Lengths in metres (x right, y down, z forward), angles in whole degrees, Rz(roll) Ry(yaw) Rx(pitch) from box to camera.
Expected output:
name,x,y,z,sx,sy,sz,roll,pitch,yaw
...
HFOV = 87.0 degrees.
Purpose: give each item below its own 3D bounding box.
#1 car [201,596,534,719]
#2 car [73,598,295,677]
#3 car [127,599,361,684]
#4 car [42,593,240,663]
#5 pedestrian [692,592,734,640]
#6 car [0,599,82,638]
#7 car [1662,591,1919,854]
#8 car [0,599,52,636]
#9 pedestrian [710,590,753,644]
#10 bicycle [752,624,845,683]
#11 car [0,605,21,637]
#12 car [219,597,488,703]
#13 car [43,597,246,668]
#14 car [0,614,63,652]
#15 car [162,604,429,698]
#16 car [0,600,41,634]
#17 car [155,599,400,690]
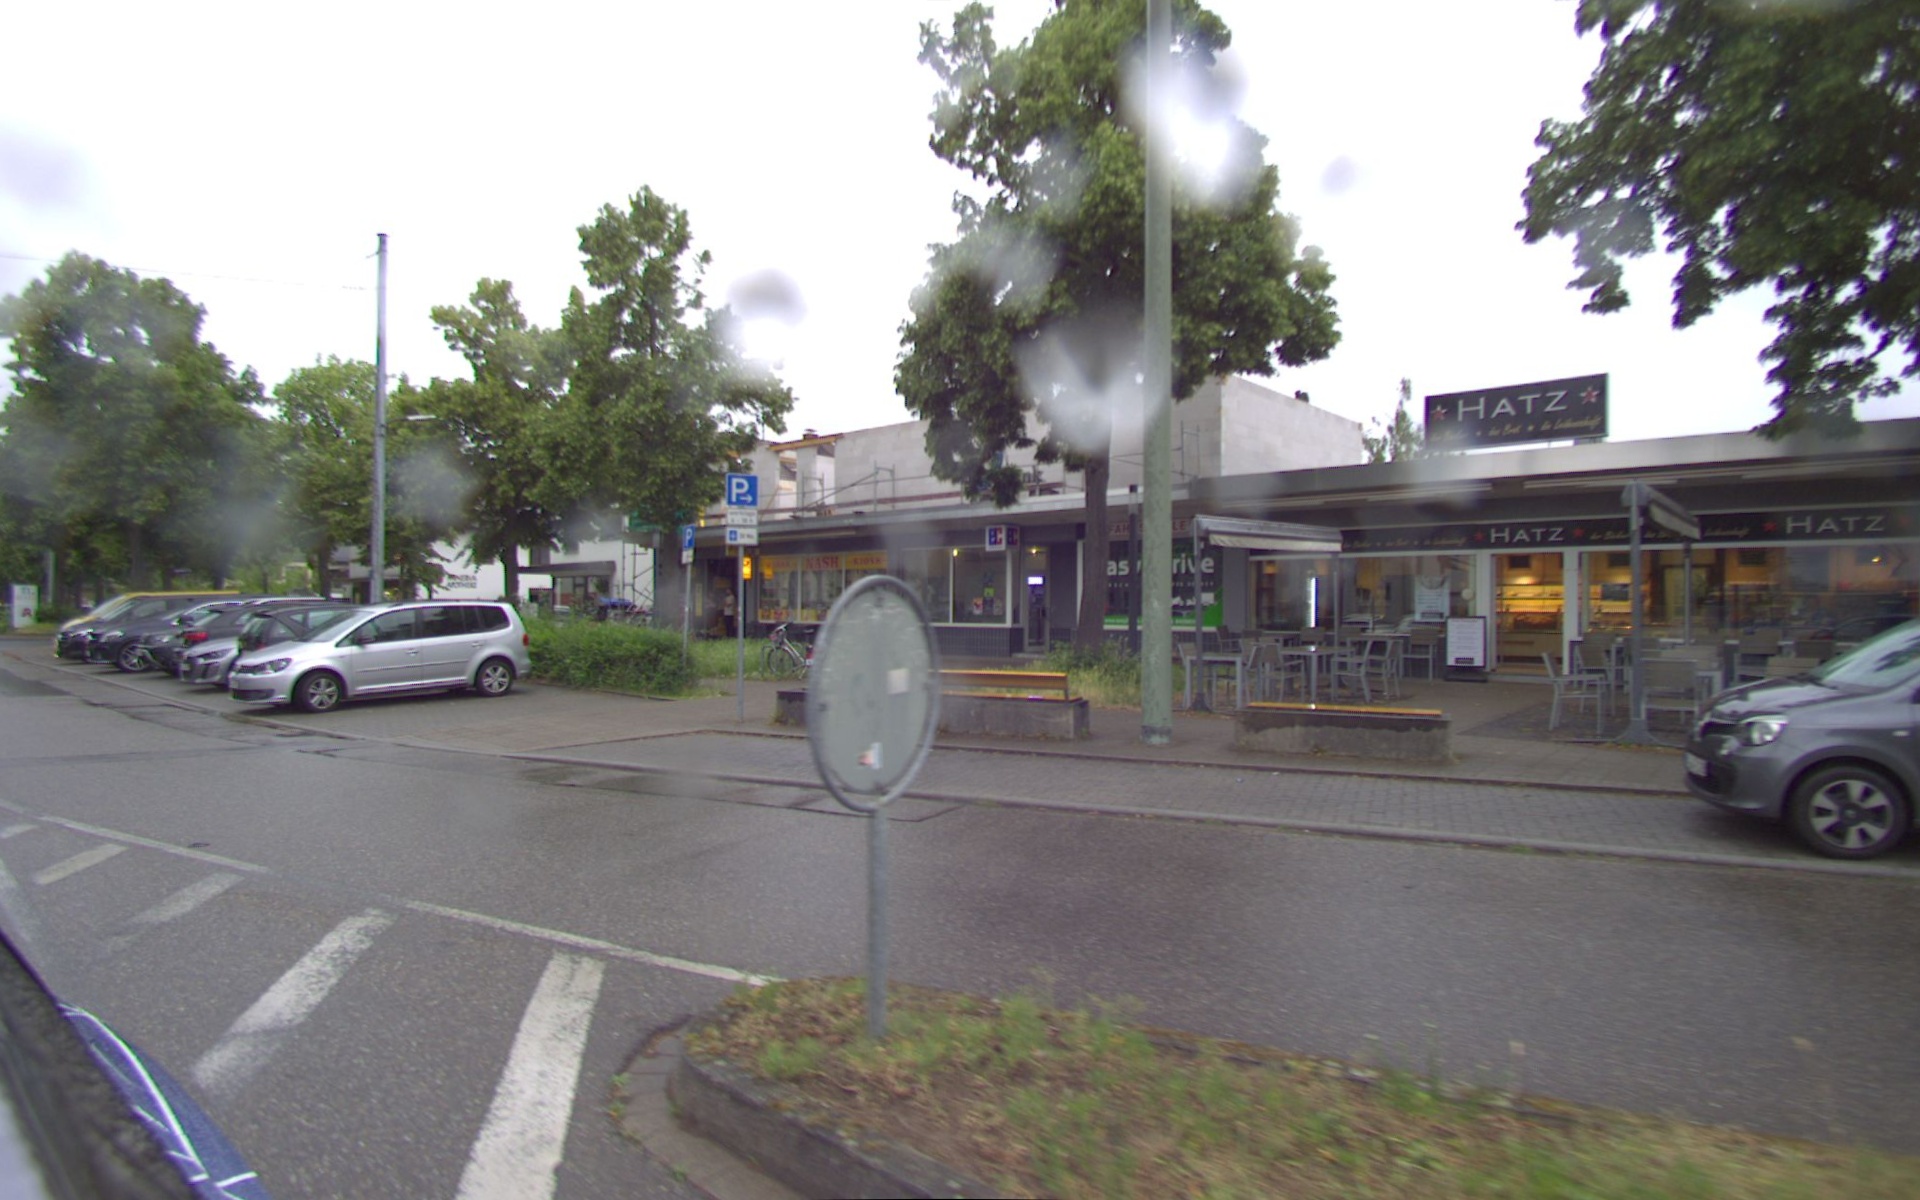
name,x,y,z,sx,sy,sz,roll,pitch,yaw
car,-9.515,0.821,16.540,1.998,1.686,4.281,-1,0,39
car,-19.038,0.852,24.960,1.897,1.722,4.037,-1,0,39
car,-16.368,0.868,23.282,1.897,1.722,4.037,-1,0,39
car,-25.297,0.802,31.377,1.897,1.958,4.489,-1,0,39
pedestrian,-8.404,0.542,34.388,1.063,1.596,0.950,1,0,-38
car,-48.787,0.950,52.617,1.897,1.958,4.489,-1,0,39
car,6.724,0.709,6.295,3.600,1.514,1.540,-1,1,24
car,-53.081,0.990,55.616,1.897,1.958,4.489,-1,0,39
pedestrian,-7.514,0.546,33.273,1.063,1.727,0.950,1,0,-38
bicycle,-3.135,1.019,19.592,1.740,1.080,0.589,0,-2,24
car,-62.205,1.366,63.604,1.897,1.958,4.489,-1,0,40
car,-11.096,0.829,18.723,1.792,1.686,3.895,-1,0,39
car,-23.409,0.871,29.177,1.897,1.823,4.249,-1,0,39
car,-51.063,1.787,54.052,1.897,1.958,4.489,-1,0,39
car,-13.080,0.921,20.116,1.998,1.583,4.037,-1,0,39
car,-56.663,1.019,58.895,1.897,1.958,4.489,-1,0,39
car,-14.651,0.885,21.893,1.897,1.722,4.037,-1,0,39
